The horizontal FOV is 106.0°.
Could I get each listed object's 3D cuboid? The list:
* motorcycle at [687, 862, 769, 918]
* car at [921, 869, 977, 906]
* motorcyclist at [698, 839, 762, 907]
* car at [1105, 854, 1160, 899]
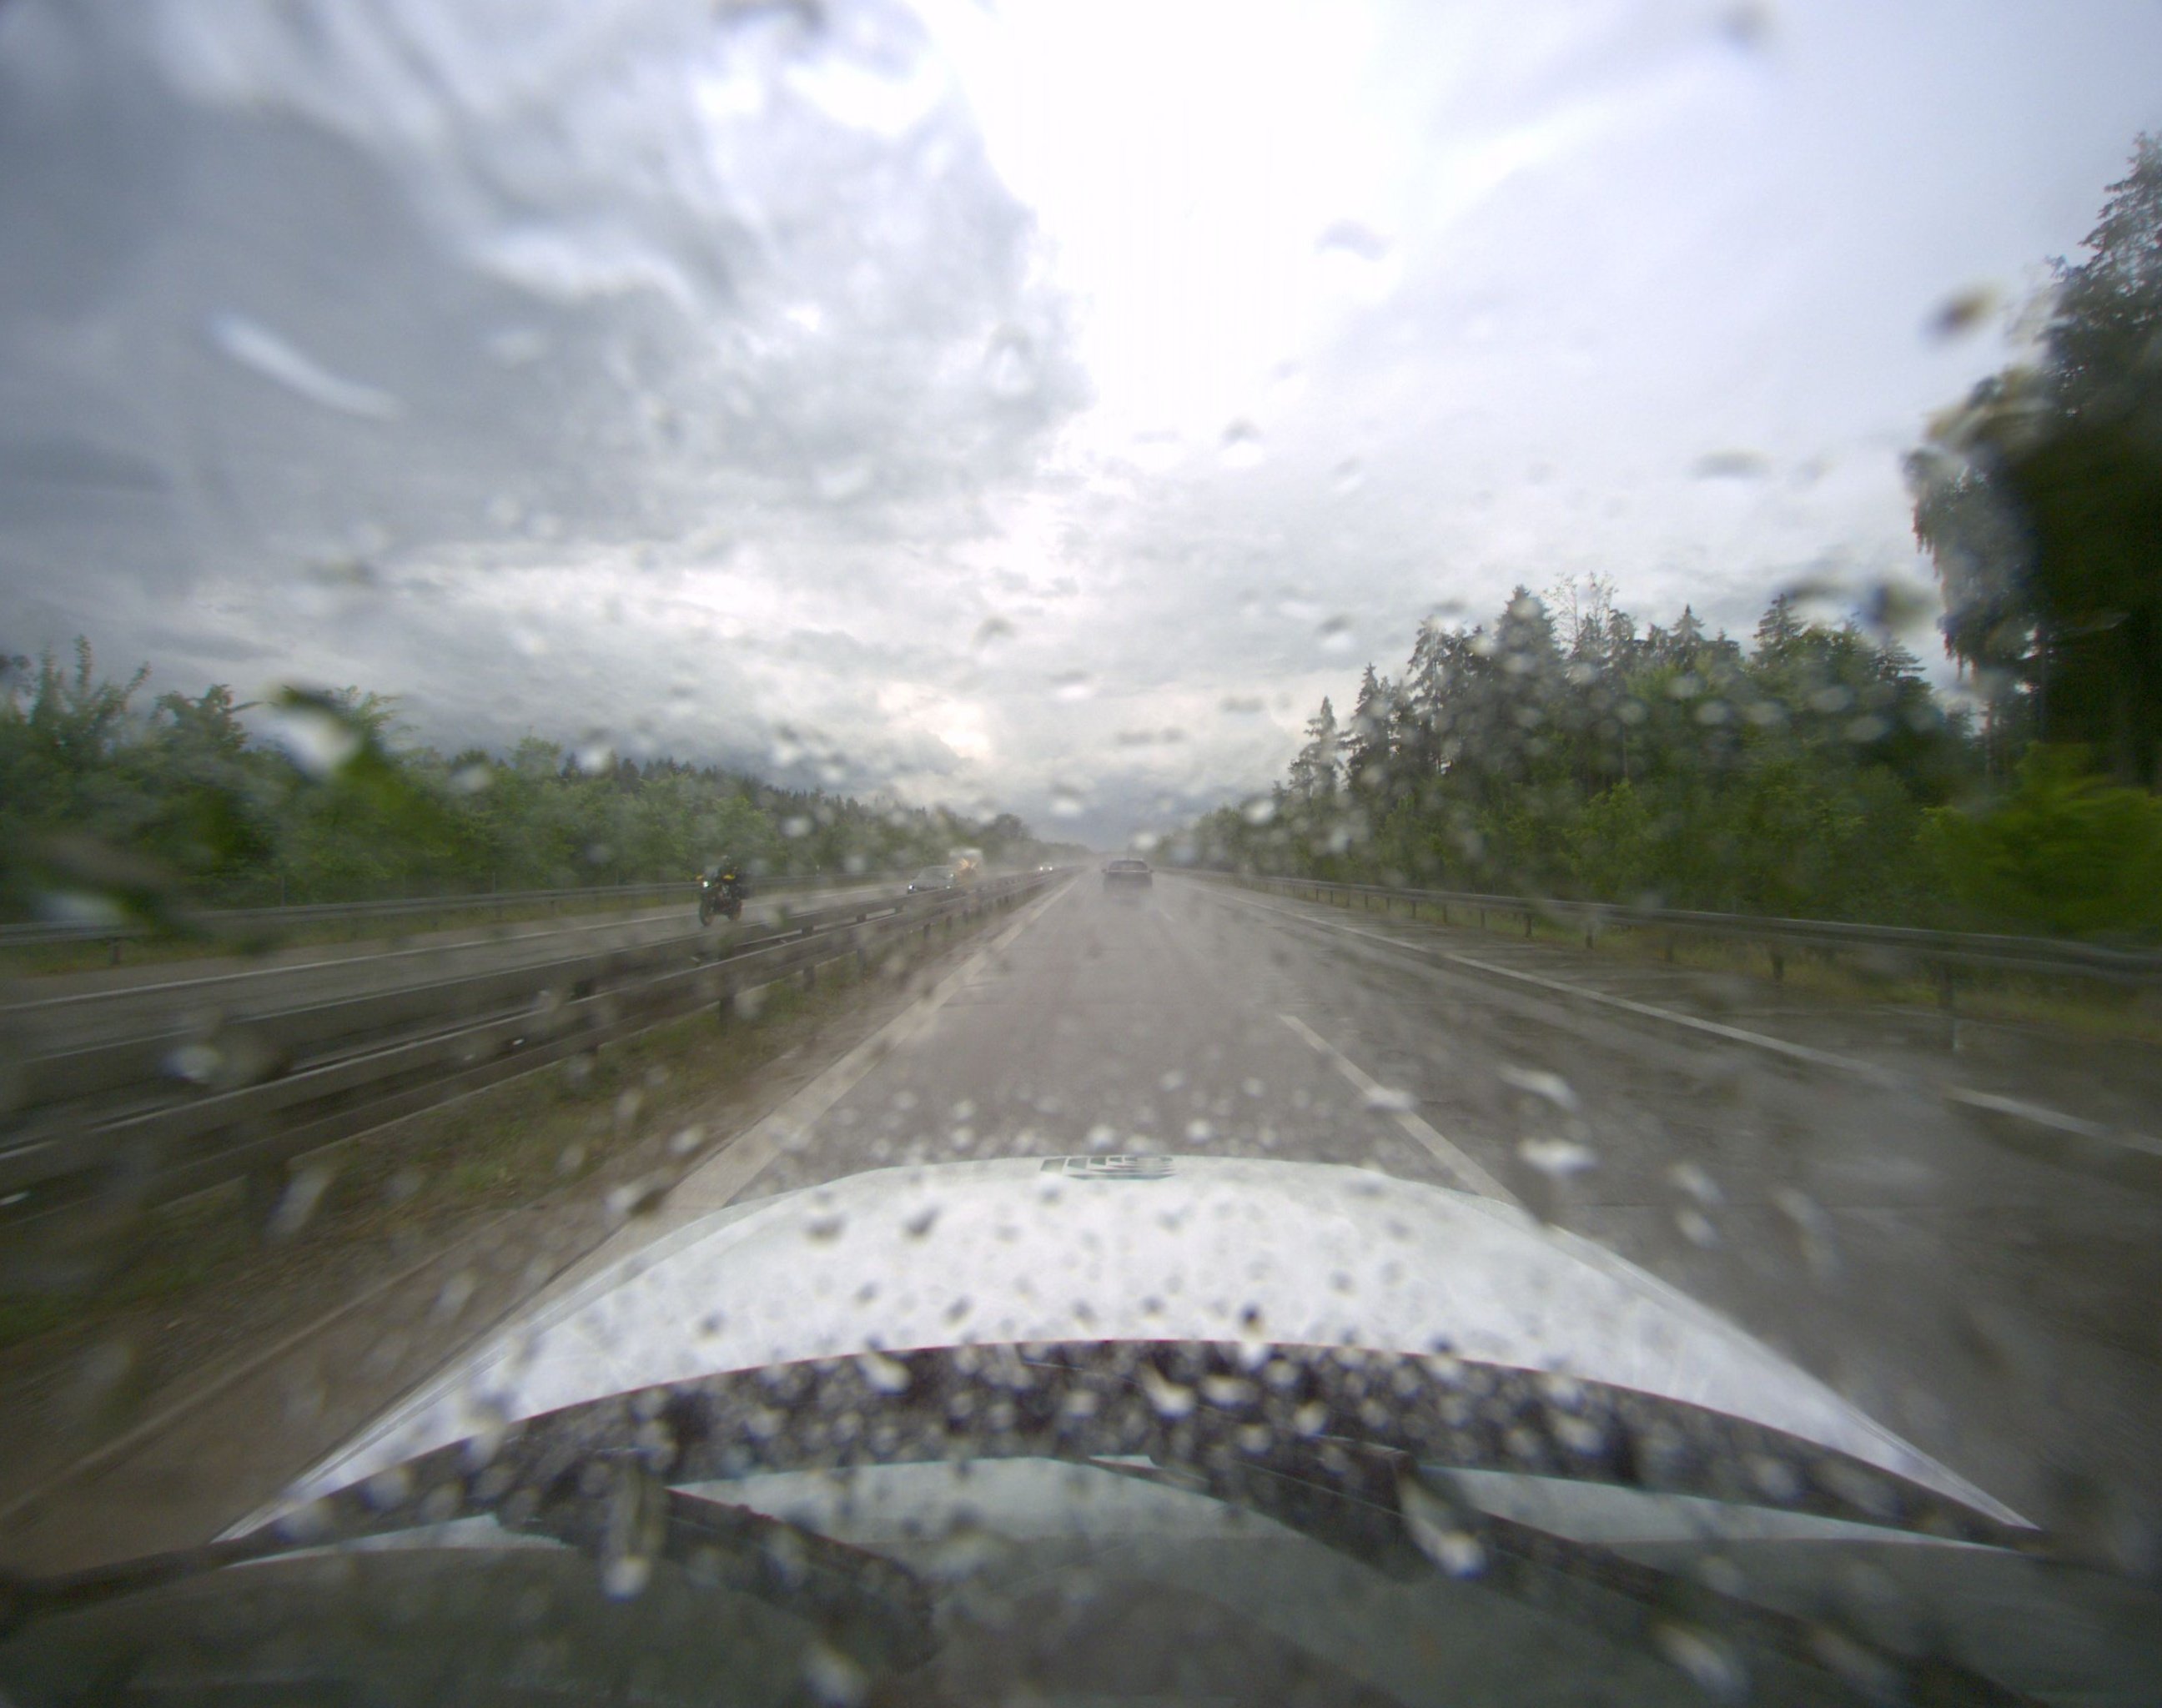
[{"bbox_3d":[-9.342,0.914,21.698,1.069,1.389,2.414,0,0,2],"label":"motorcycle"},{"bbox_3d":[-5.623,1.392,35.229,1.763,1.418,4.603,-1,0,-2],"label":"car"},{"bbox_3d":[-9.344,0.502,21.745,1.064,1.756,1.445,0,-1,1],"label":"motorcyclist"},{"bbox_3d":[1.883,0.866,30.869,1.888,1.576,3.631,1,-2,0],"label":"car"}]
